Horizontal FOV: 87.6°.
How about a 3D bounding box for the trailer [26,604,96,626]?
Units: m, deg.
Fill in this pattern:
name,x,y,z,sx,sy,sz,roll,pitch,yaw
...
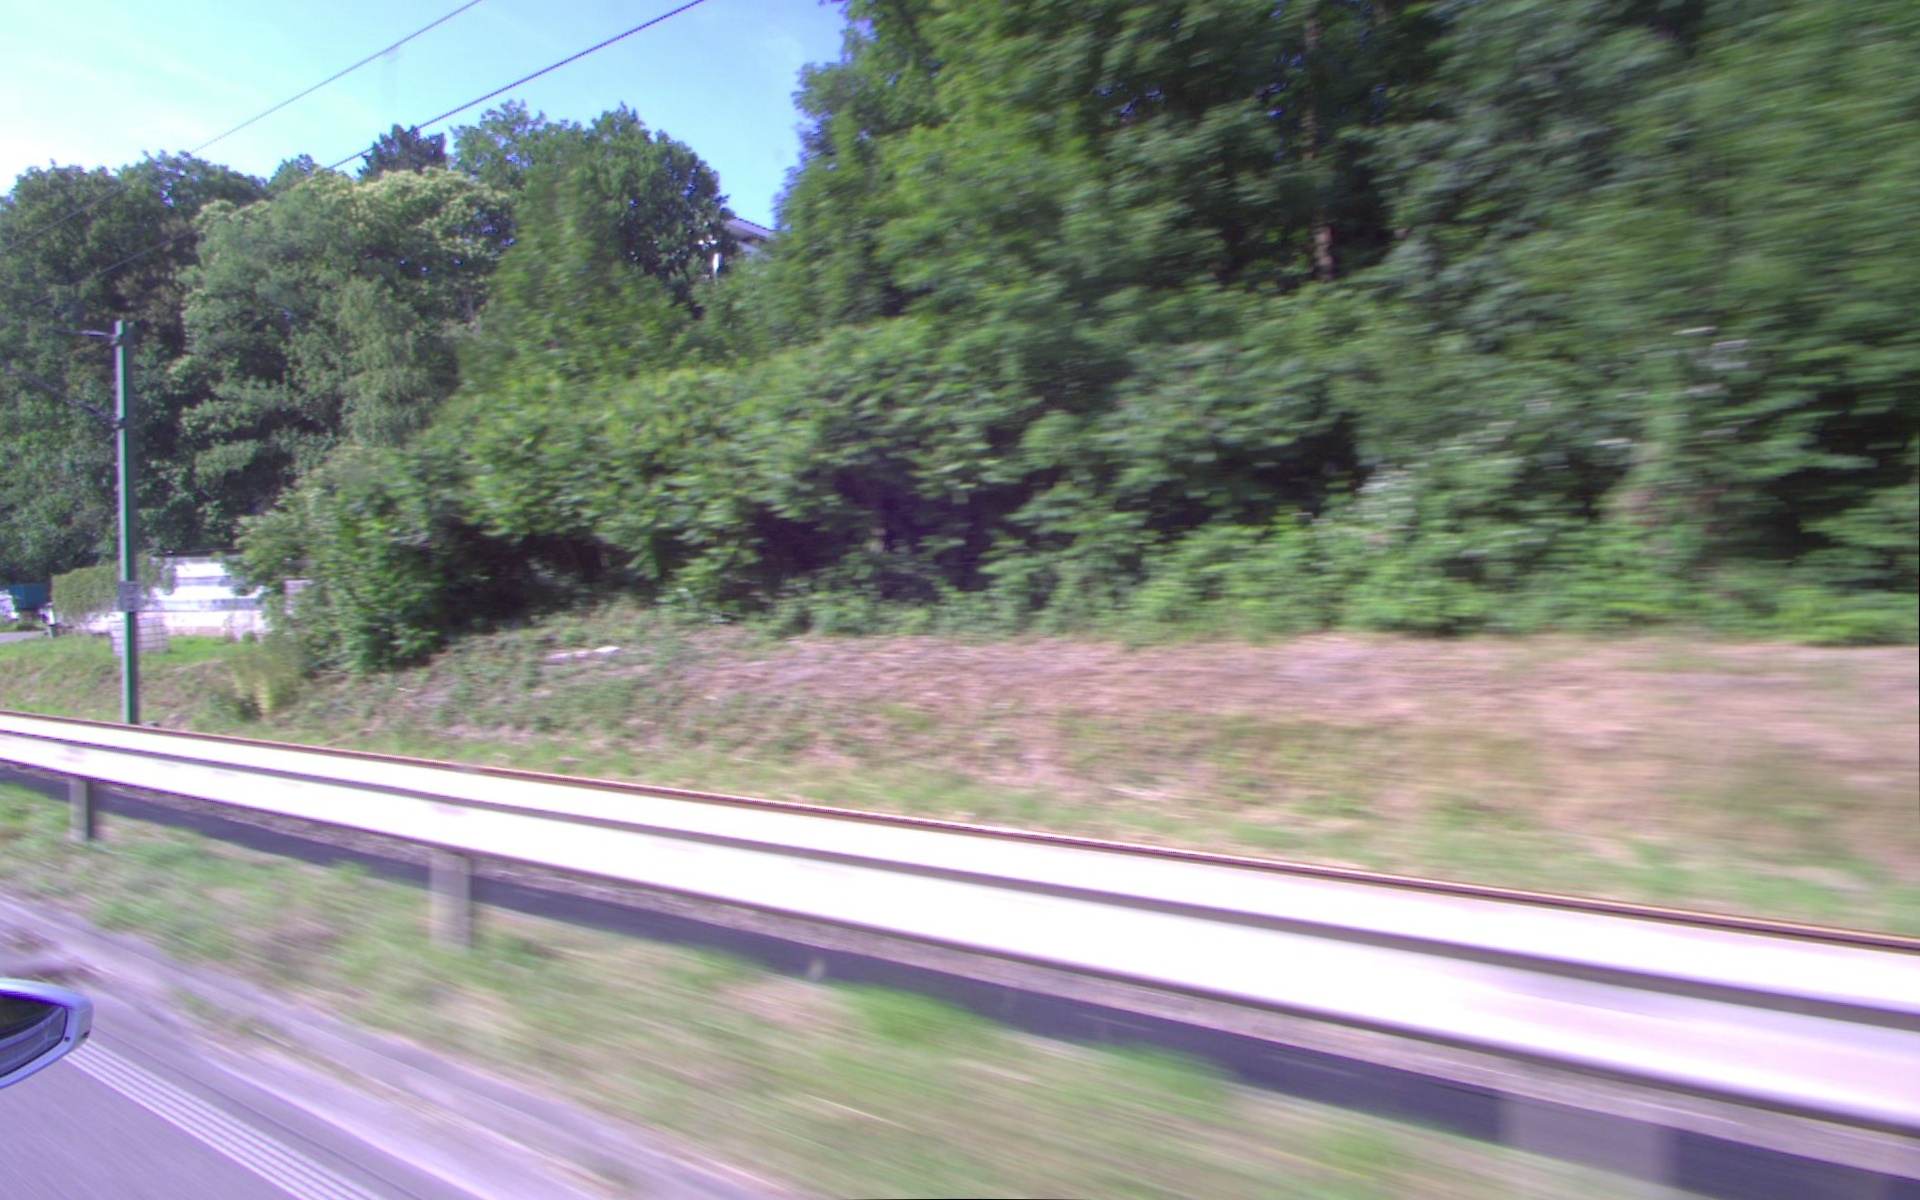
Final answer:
name,x,y,z,sx,sy,sz,roll,pitch,yaw
trailer,-53.071,0.928,59.131,3.659,1.207,2.064,-1,-2,30
